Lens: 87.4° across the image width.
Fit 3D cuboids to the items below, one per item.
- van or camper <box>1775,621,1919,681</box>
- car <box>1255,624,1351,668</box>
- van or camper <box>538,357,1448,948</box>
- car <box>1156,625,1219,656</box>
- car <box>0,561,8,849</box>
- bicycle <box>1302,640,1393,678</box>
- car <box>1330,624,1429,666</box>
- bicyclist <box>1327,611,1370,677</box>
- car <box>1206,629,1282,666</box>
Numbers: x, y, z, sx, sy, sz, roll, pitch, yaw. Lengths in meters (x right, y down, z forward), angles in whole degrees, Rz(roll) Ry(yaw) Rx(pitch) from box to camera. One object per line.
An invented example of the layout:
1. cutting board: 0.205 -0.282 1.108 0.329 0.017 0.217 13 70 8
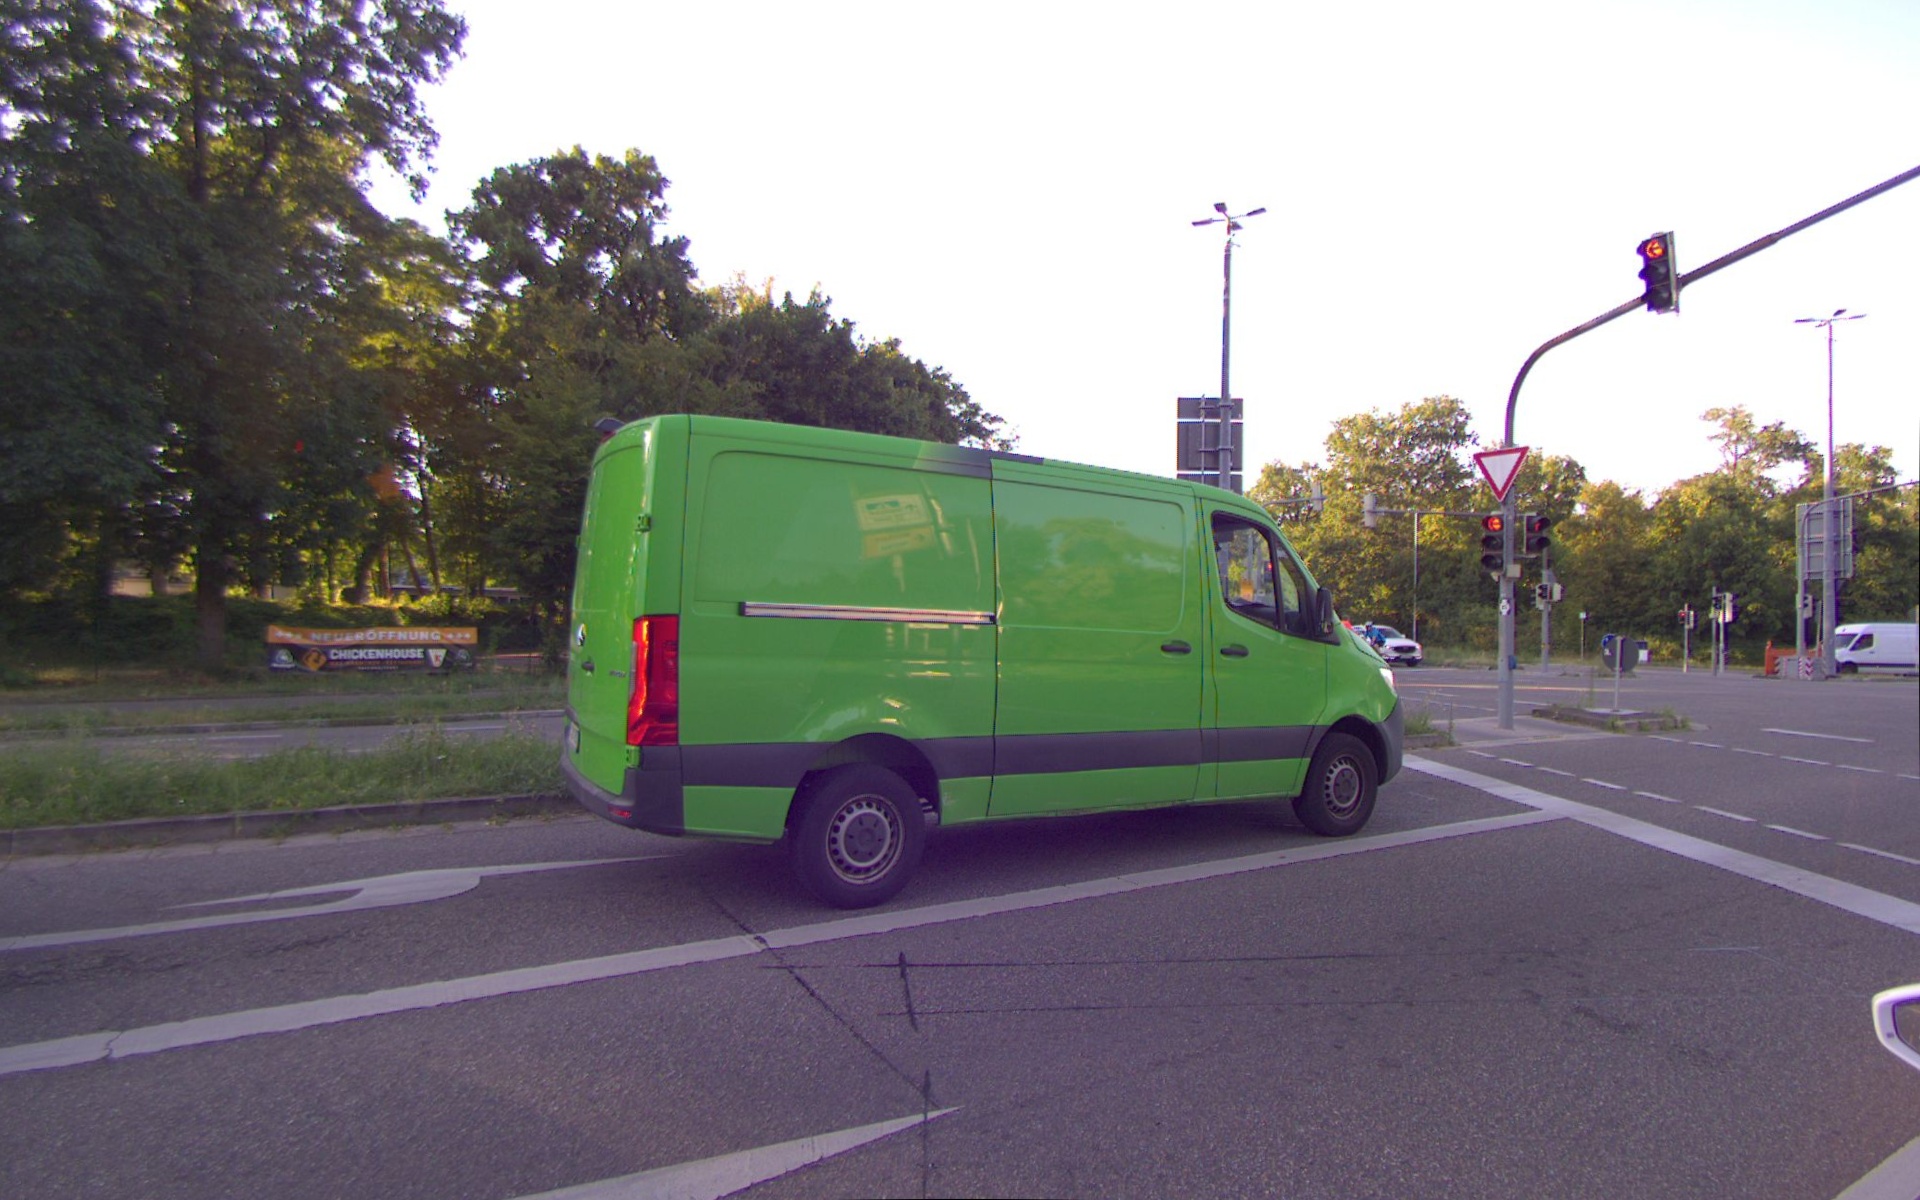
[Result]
1. van or camper: 43.265 2.387 47.667 6.983 2.687 2.894 1 -1 -2
2. car: 13.807 1.821 40.696 1.963 1.661 4.252 1 -1 -8
3. van or camper: 0.537 0.296 6.563 5.830 2.453 1.983 2 -1 -32
4. car: 12.683 2.224 56.198 1.964 1.661 4.250 1 -1 -10
5. car: -5.699 0.542 2.883 3.958 1.572 1.982 2 -1 -33
6. bicycle: 11.218 1.703 29.074 2.608 1.044 0.765 1 -1 -19
7. car: 17.493 1.855 42.103 1.963 1.661 4.252 1 -1 -8
8. bicyclist: 11.245 1.269 29.088 0.965 1.904 0.674 1 -1 -19
9. car: 13.496 2.234 48.045 1.963 1.661 4.252 1 -1 -8
